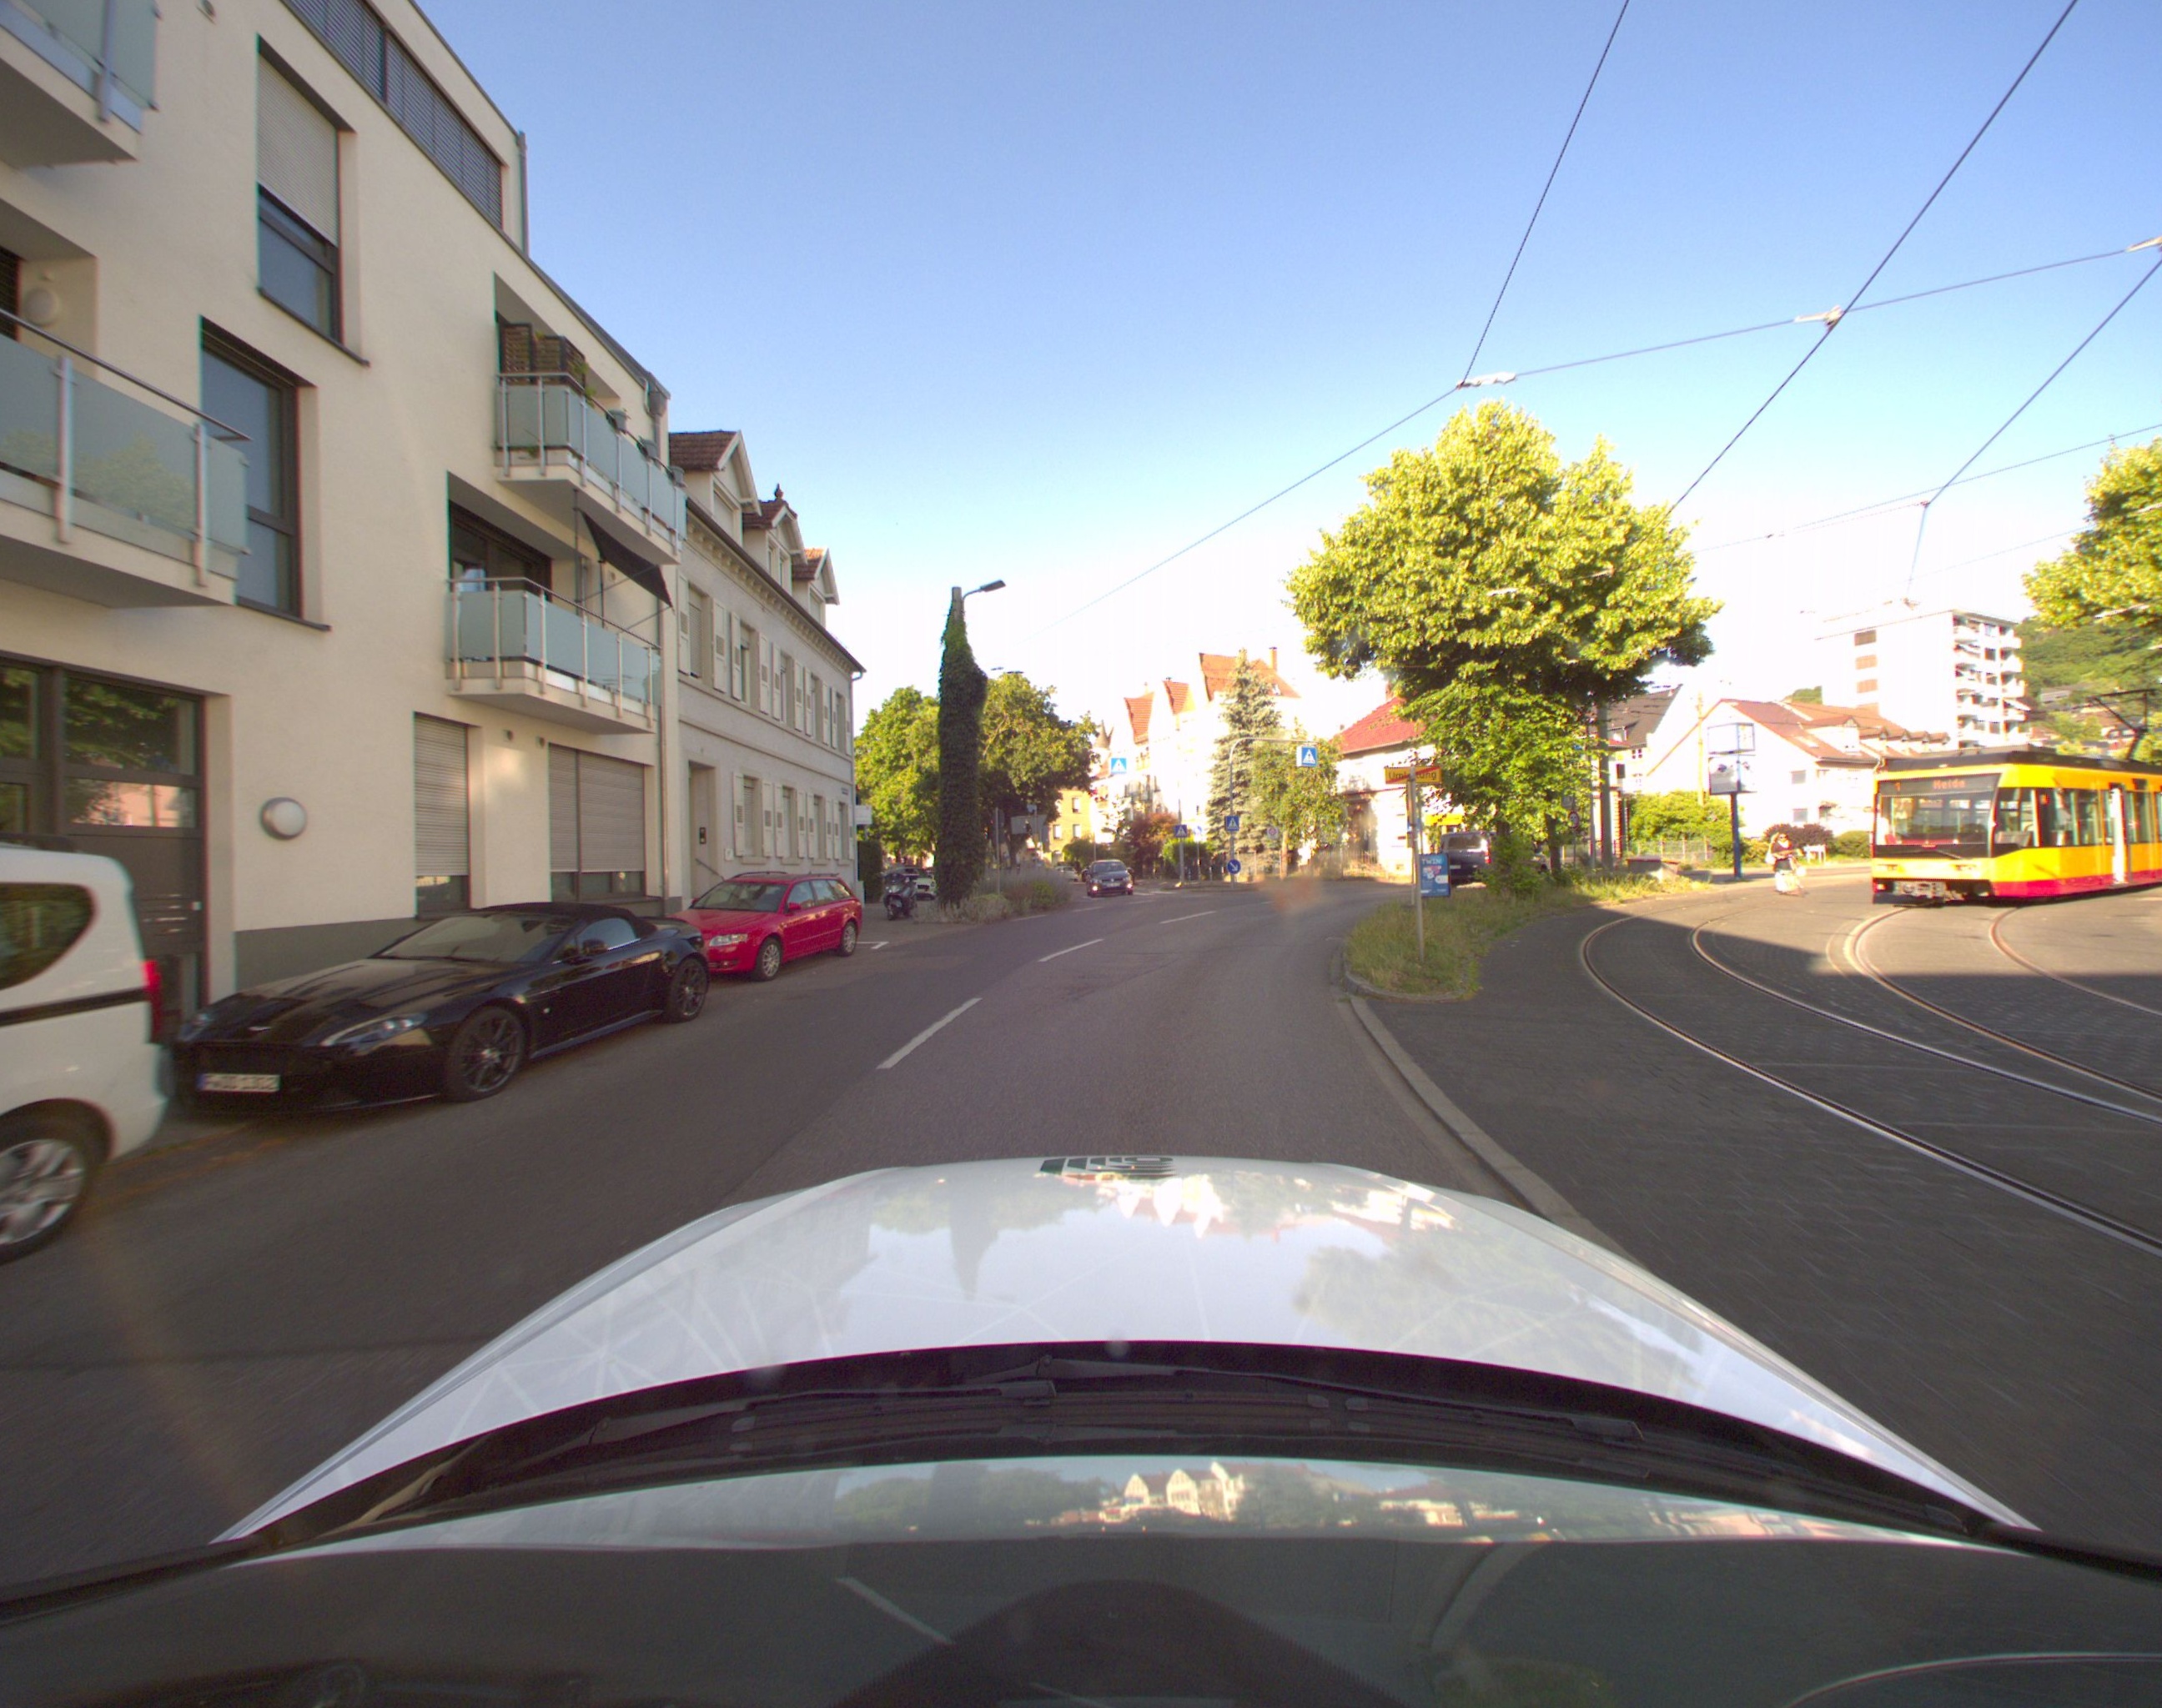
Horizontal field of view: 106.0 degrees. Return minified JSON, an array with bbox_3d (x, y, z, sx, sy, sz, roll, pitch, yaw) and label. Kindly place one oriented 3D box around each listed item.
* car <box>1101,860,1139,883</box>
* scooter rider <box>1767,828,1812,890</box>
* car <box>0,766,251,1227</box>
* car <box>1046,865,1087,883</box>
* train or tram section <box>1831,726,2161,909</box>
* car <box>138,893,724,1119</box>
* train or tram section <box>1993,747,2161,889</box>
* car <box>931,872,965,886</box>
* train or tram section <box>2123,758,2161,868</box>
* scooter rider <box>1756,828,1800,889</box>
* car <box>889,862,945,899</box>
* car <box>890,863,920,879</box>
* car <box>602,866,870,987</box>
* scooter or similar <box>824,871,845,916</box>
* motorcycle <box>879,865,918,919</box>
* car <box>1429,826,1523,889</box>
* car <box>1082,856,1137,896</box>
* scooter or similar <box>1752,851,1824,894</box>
[{"bbox_3d":[2.779,1.261,59.292,1.993,1.596,3.986,0,-1,-10],"label":"car"},{"bbox_3d":[19.662,0.130,22.603,0.652,1.672,0.607,-2,-1,-6],"label":"scooter rider"},{"bbox_3d":[-5.255,0.593,2.115,1.806,1.869,4.329,-2,0,-2],"label":"car"},{"bbox_3d":[-1.417,1.809,74.720,2.347,1.596,4.896,0,-1,-19],"label":"car"},{"bbox_3d":[21.882,-0.764,19.281,9.942,3.556,2.759,-1,-1,-28],"label":"train or tram section"},{"bbox_3d":[-4.926,1.032,7.069,1.657,1.273,4.029,0,-1,3],"label":"car"},{"bbox_3d":[30.724,-0.965,23.812,9.939,3.556,2.760,-1,-1,-26],"label":"train or tram section"},{"bbox_3d":[-16.731,3.126,102.131,2.357,1.596,4.877,0,-2,-34],"label":"car"},{"bbox_3d":[39.717,-1.427,27.984,9.939,3.556,2.760,-1,-1,-26],"label":"train or tram section"},{"bbox_3d":[19.630,0.130,22.953,0.652,1.672,0.607,-2,-1,-6],"label":"scooter rider"},{"bbox_3d":[-7.503,1.180,36.905,1.815,1.537,3.881,0,-1,-22],"label":"car"},{"bbox_3d":[-24.245,2.343,111.957,2.357,2.041,4.877,0,-2,-34],"label":"car"},{"bbox_3d":[-5.038,0.954,12.735,1.699,1.466,4.602,0,0,8],"label":"car"},{"bbox_3d":[-7.014,1.097,23.203,0.509,1.229,1.532,0,-1,-16],"label":"scooter or similar"},{"bbox_3d":[-4.951,1.006,22.242,0.931,1.357,2.555,0,-1,-10],"label":"motorcycle"},{"bbox_3d":[13.726,0.132,28.194,1.974,2.014,4.025,-1,-1,40],"label":"car"},{"bbox_3d":[1.082,0.856,32.704,1.710,1.403,3.731,-3,-1,-5],"label":"car"},{"bbox_3d":[19.700,0.513,22.720,0.682,1.136,1.403,-2,0,-8],"label":"scooter or similar"}]
